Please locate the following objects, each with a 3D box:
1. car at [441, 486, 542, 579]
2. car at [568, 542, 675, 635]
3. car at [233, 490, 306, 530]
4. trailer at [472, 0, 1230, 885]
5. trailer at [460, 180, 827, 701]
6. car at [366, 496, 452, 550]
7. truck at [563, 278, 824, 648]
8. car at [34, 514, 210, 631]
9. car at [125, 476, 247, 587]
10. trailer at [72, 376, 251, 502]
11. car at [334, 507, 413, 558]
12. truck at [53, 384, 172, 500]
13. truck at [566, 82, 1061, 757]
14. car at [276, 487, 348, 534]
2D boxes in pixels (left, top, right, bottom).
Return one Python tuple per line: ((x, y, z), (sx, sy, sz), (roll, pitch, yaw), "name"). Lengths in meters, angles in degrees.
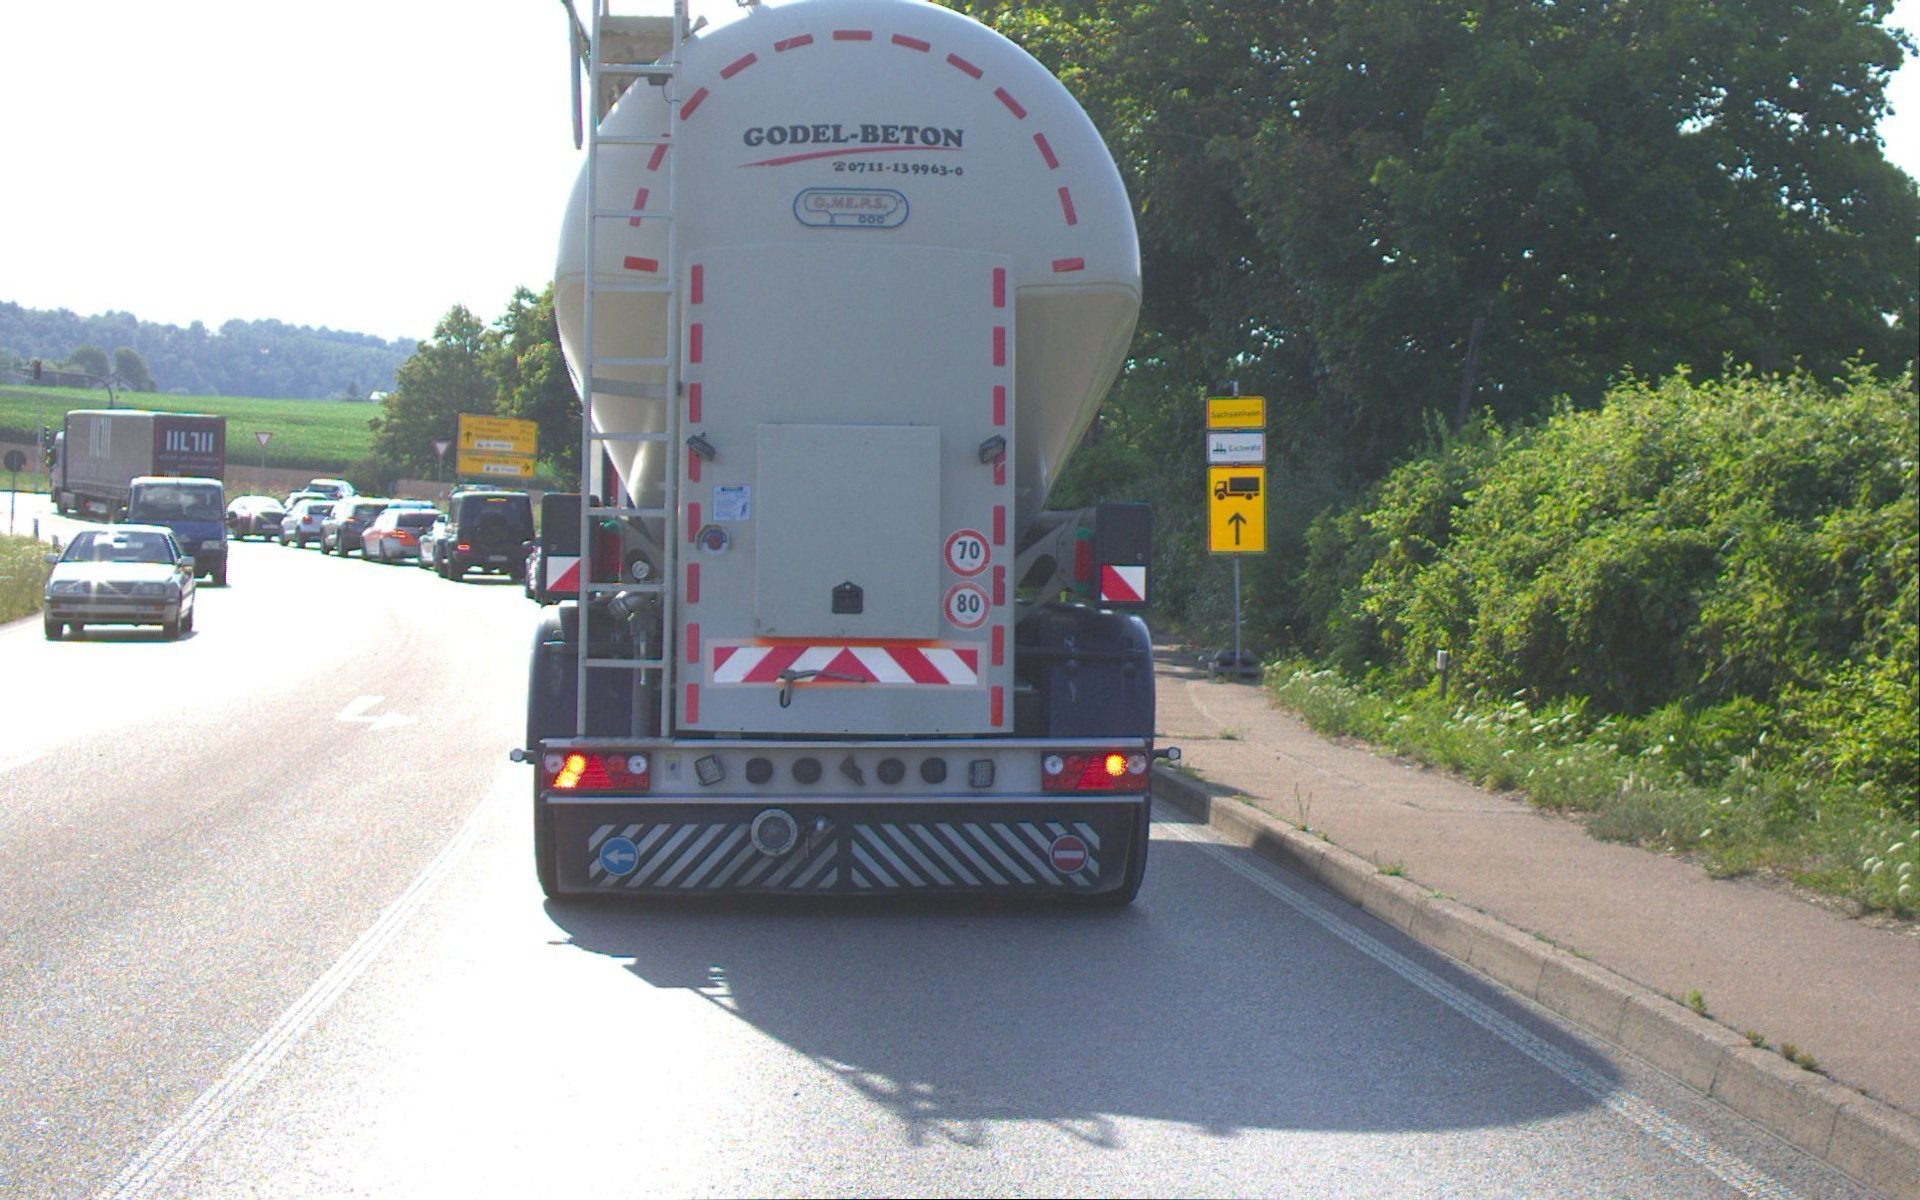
((-10.471, -1.520, 76.683), (1.861, 2.007, 3.720), (1, 1, -13), "car")
((-5.345, -0.196, 54.186), (1.580, 1.336, 3.426), (2, 1, -6), "car")
((-22.344, -2.923, 111.159), (1.769, 1.201, 3.427), (2, 1, -20), "car")
((-0.727, -0.995, 18.349), (2.909, 3.992, 9.932), (1, 1, -4), "trailer")
((-2.975, -1.505, 36.223), (2.954, 4.300, 14.177), (2, 1, -2), "trailer")
((-14.586, -2.038, 90.922), (1.580, 1.336, 3.427), (2, 1, -20), "car")
((-3.264, -1.681, 43.290), (2.951, 4.288, 4.932), (2, 1, -2), "truck")
((-10.879, -0.380, 44.868), (1.706, 1.423, 4.179), (1, 1, -7), "car")
((-15.609, -1.380, 69.520), (1.997, 2.129, 4.780), (1, 1, -8), "car")
((-29.982, -5.954, 128.414), (3.375, 4.335, 14.297), (2, 1, -25), "trailer")
((-16.585, -1.928, 97.157), (1.580, 1.336, 3.427), (2, 1, -20), "car")
((-33.529, -6.212, 135.884), (3.375, 4.335, 5.707), (2, 1, -25), "truck")
((-0.993, -1.109, 22.620), (2.909, 3.992, 4.060), (1, 1, -3), "truck")
((-19.811, -2.752, 105.060), (1.580, 1.336, 3.427), (2, 1, -20), "car")
